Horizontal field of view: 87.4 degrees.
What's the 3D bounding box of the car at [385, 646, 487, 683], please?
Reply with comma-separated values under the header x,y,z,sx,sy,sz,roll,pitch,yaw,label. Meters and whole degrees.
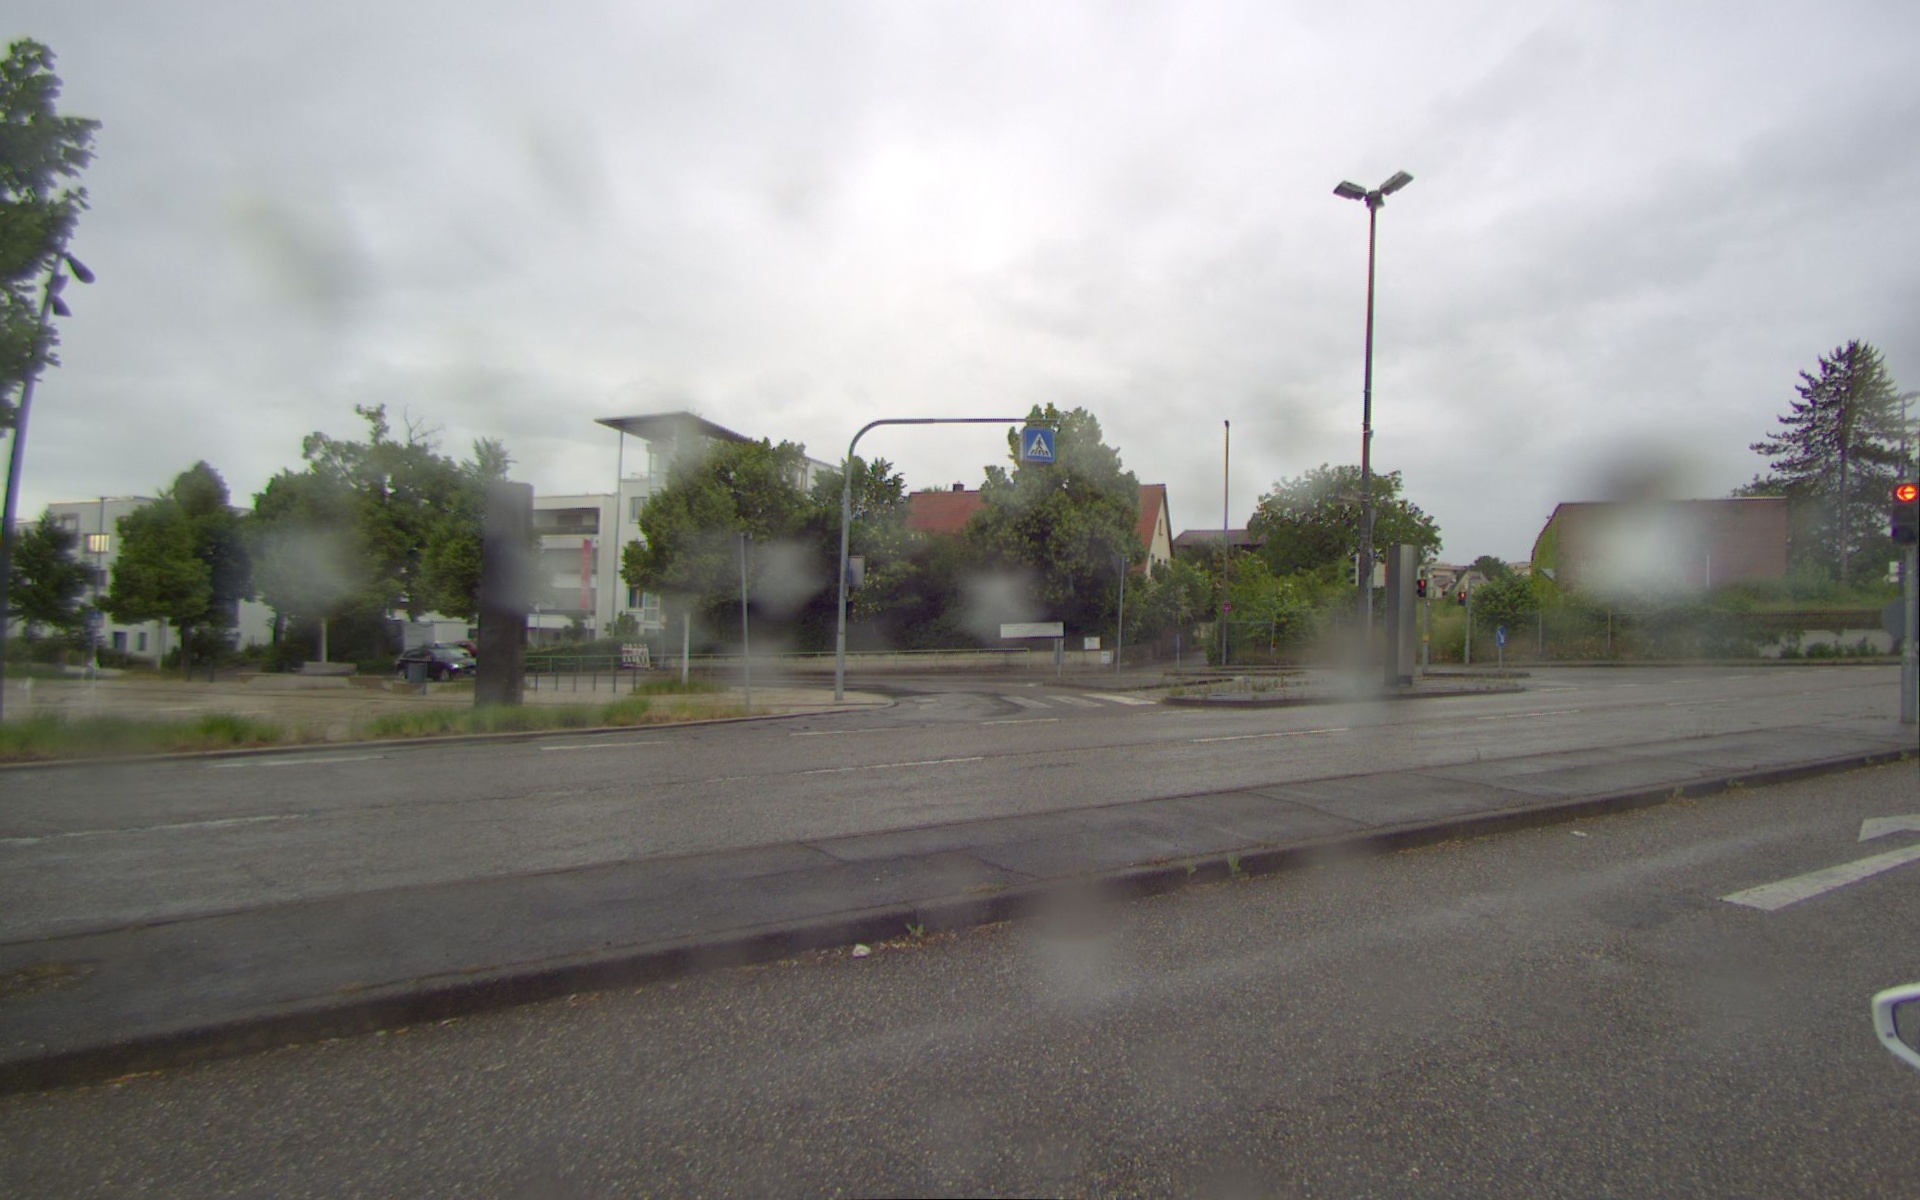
x,y,z,sx,sy,sz,roll,pitch,yaw,label
-21.851,2.655,41.872,4.205,1.408,1.787,-1,-2,30,car
